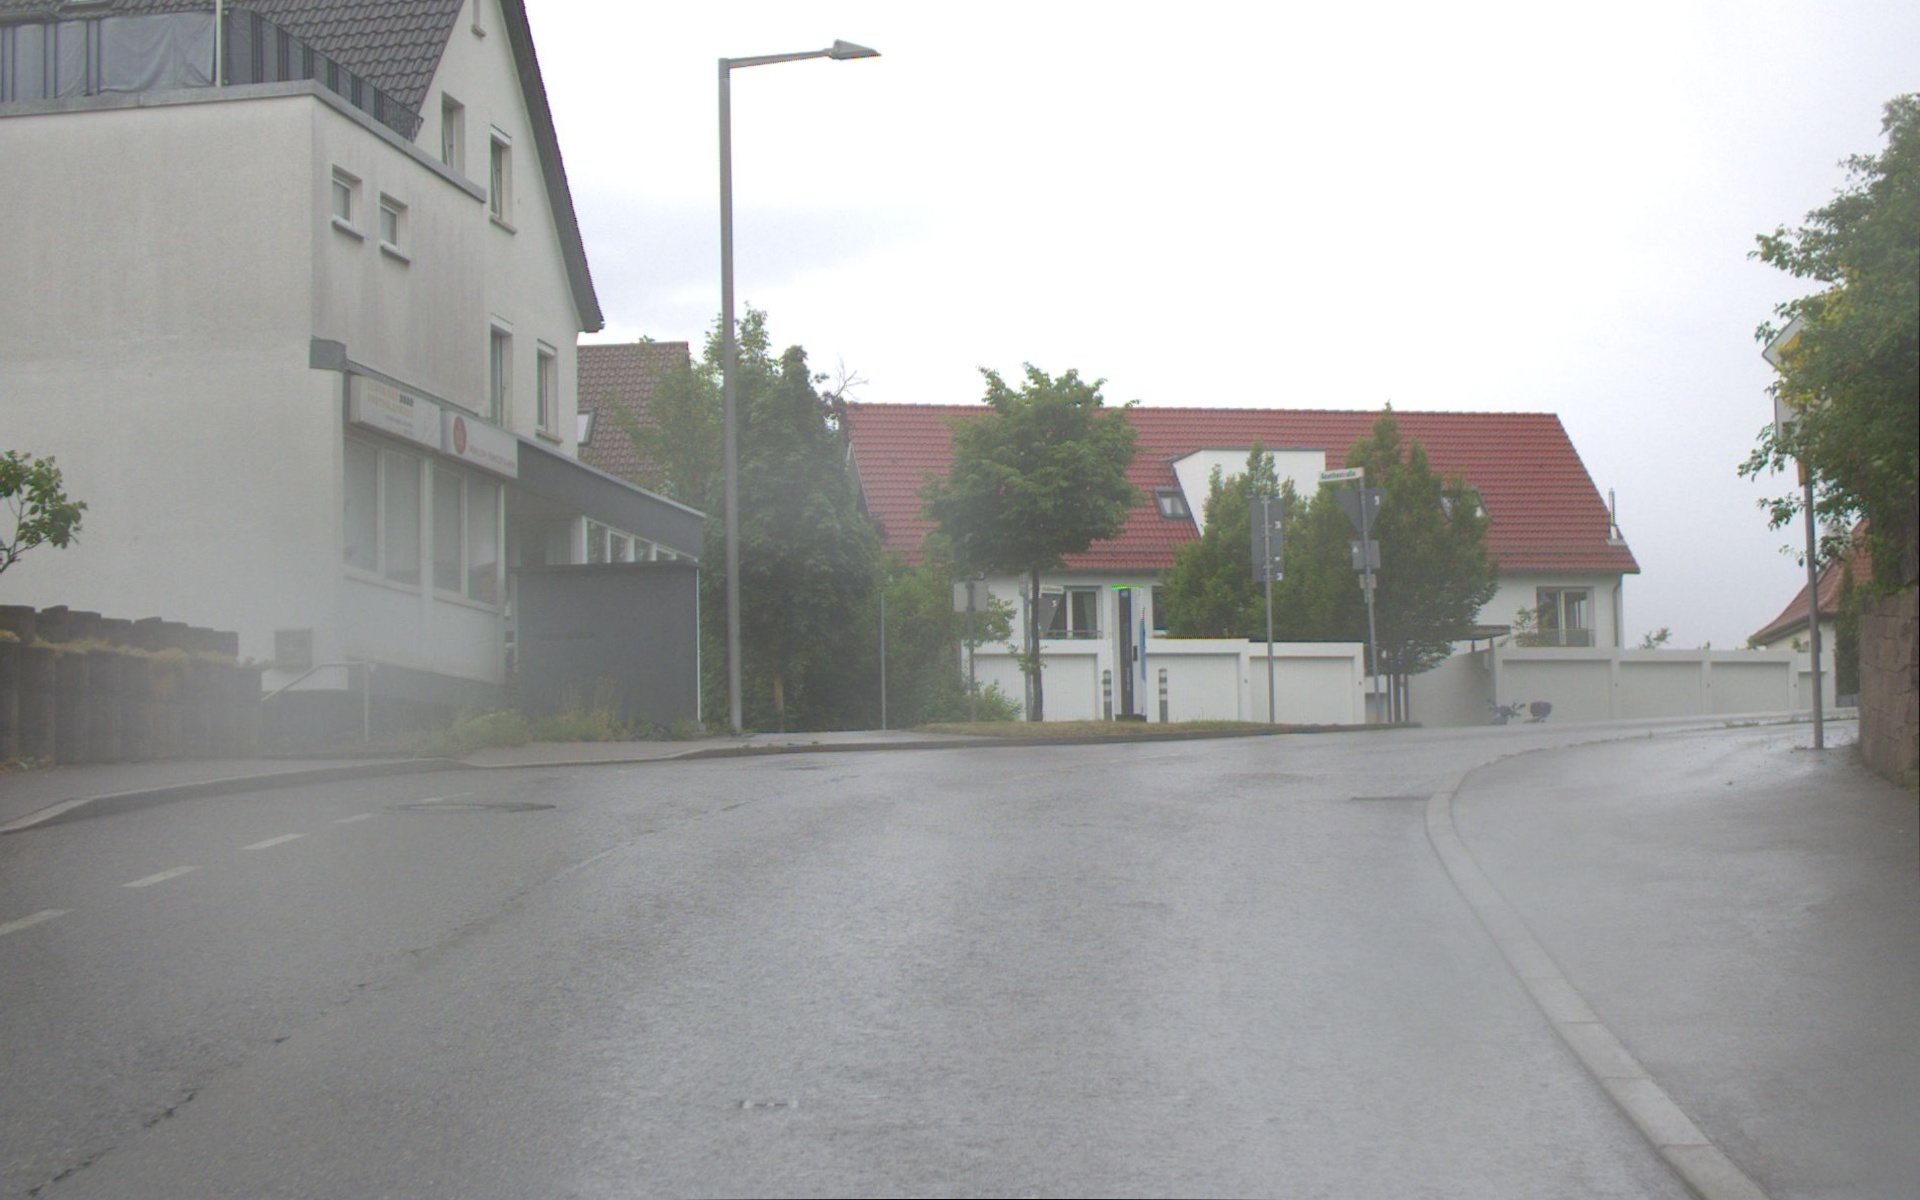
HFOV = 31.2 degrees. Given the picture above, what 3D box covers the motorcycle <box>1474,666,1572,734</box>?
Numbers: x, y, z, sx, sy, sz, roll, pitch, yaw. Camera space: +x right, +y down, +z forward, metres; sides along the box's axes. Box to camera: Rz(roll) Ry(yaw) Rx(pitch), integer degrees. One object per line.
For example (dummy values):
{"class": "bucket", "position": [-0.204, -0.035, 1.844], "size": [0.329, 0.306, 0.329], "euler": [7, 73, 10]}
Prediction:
{"class": "motorcycle", "position": [11.688, 2.074, 71.331], "size": [2.040, 1.318, 0.709], "euler": [-1, -4, -37]}
